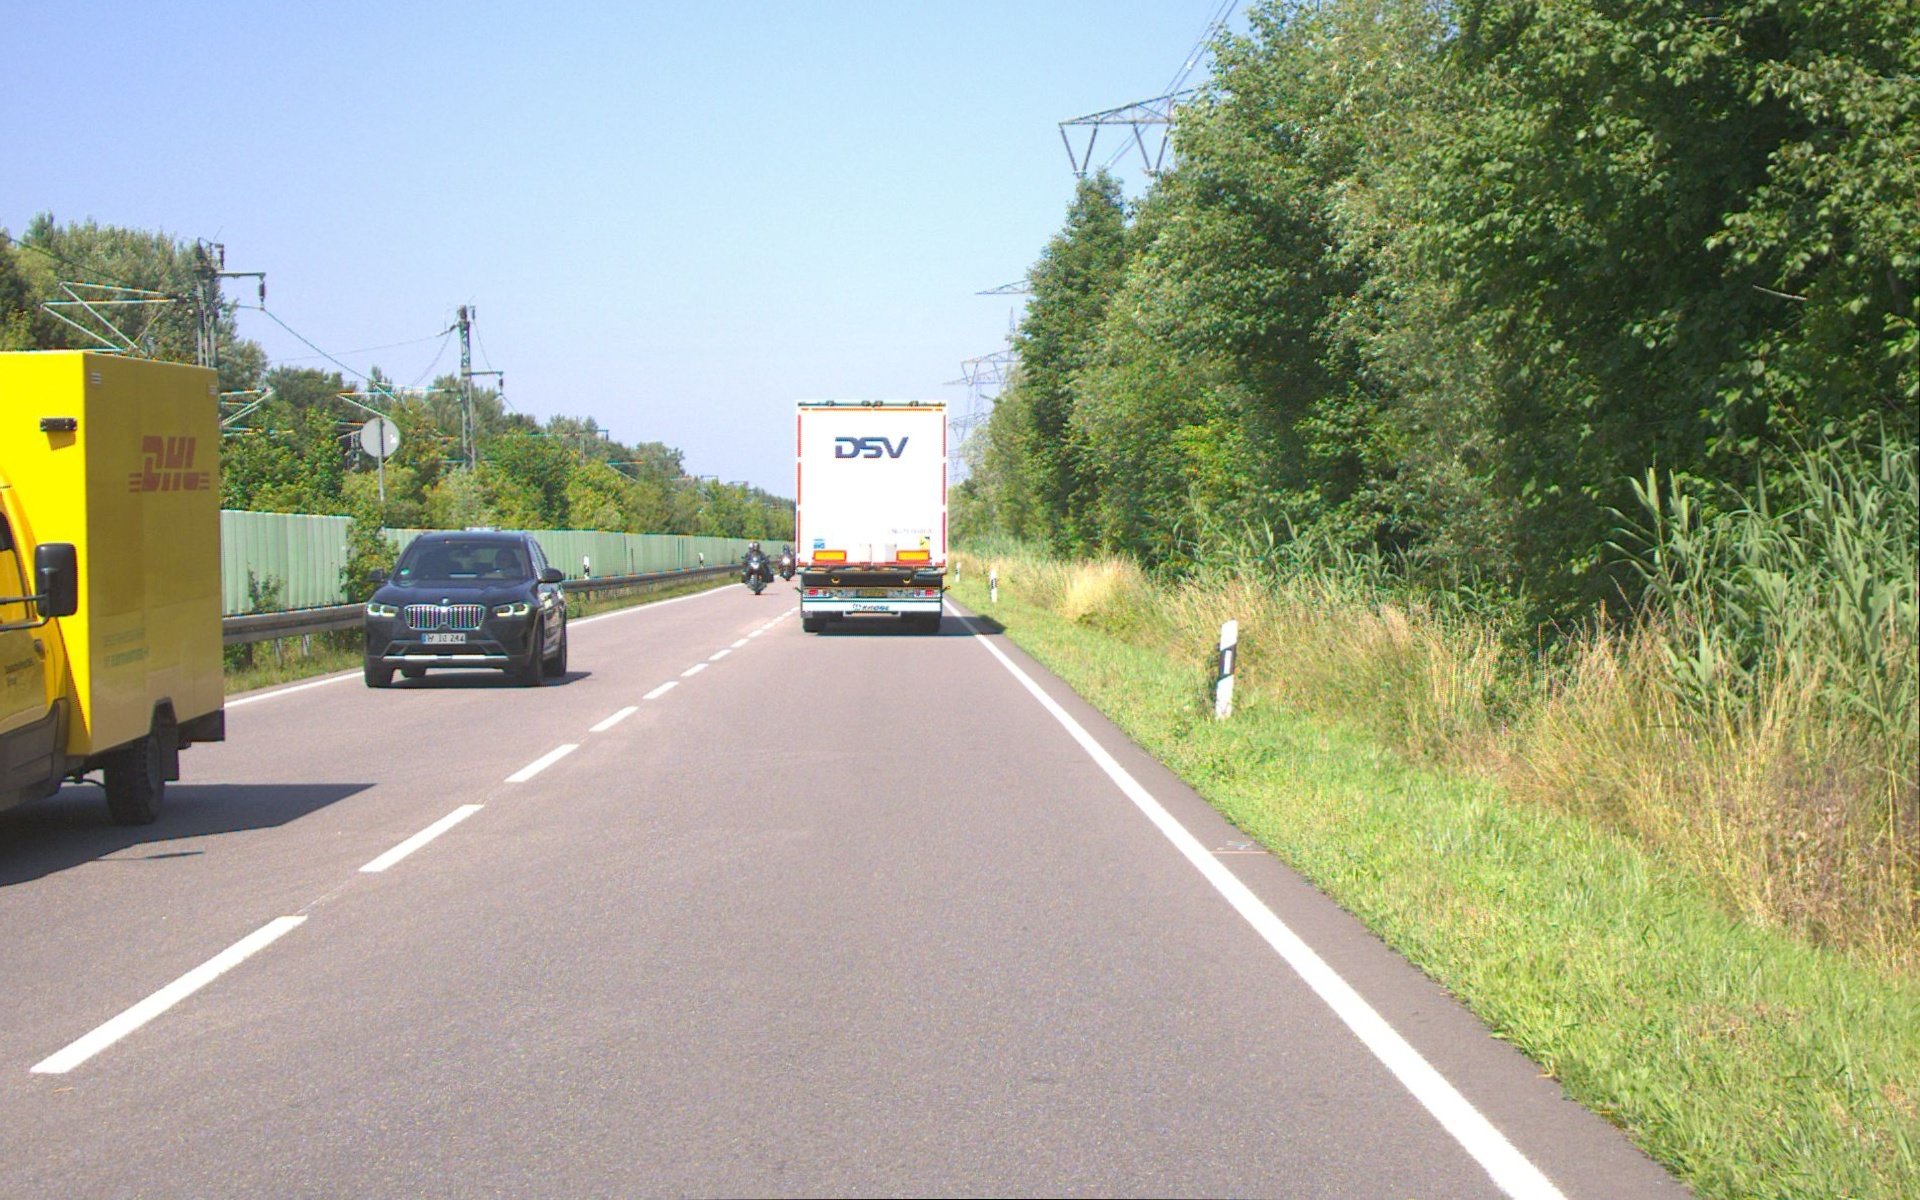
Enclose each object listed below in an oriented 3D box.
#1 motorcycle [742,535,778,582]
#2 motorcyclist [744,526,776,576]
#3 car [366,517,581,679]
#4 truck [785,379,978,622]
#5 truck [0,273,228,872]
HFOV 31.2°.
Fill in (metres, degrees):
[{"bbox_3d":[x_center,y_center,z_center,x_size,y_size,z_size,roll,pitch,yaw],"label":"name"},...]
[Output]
[{"bbox_3d":[-6.490,-1.354,111.808,0.968,1.491,2.630,1,1,0],"label":"motorcycle"},{"bbox_3d":[-6.487,-1.596,111.445,0.959,1.604,1.003,1,1,0],"label":"motorcyclist"},{"bbox_3d":[-5.344,-0.065,38.295,1.814,1.688,4.706,0,1,-1],"label":"car"},{"bbox_3d":[-1.475,-1.760,63.242,3.192,4.029,12.008,0,1,-2],"label":"truck"},{"bbox_3d":[-5.287,-0.157,17.156,2.080,2.637,5.705,0,1,-1],"label":"truck"}]
